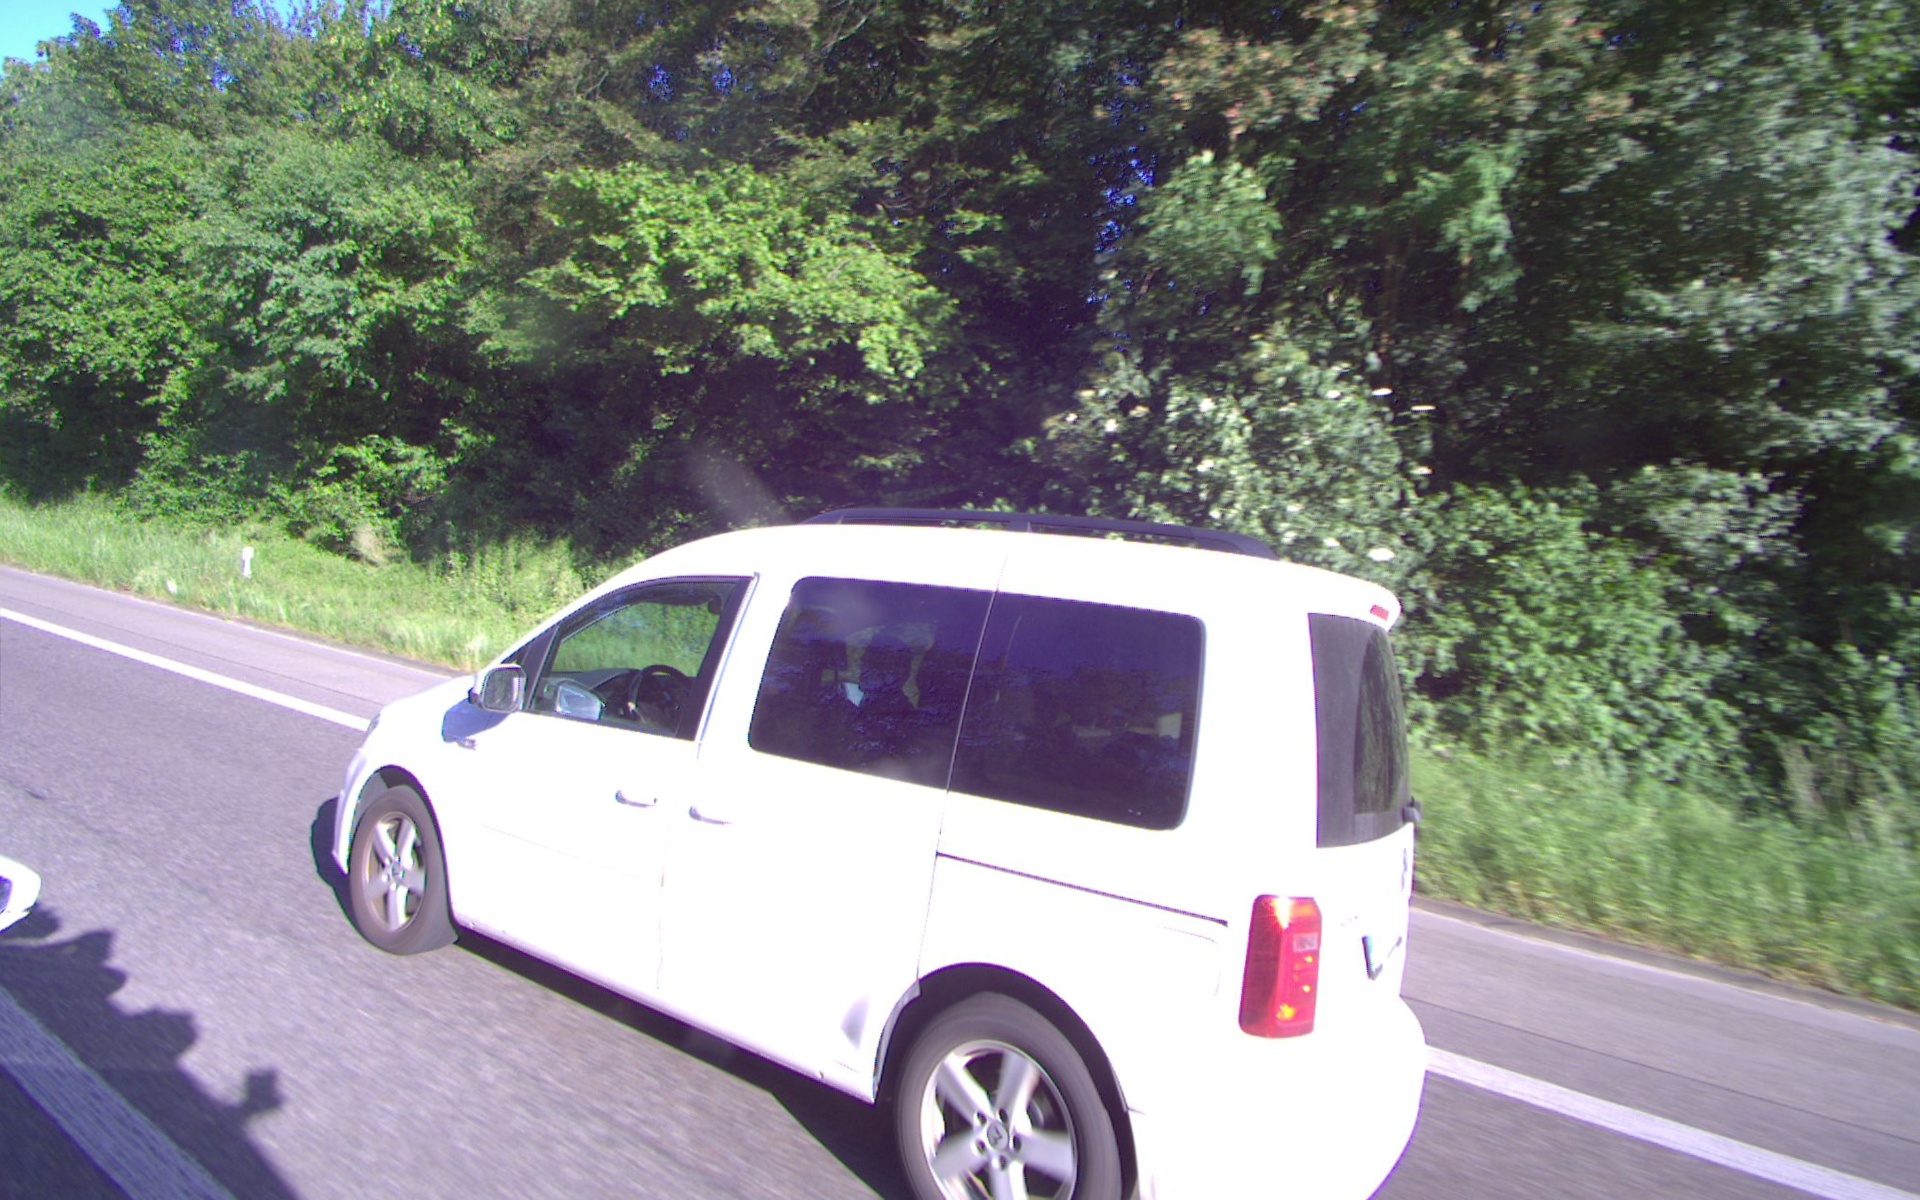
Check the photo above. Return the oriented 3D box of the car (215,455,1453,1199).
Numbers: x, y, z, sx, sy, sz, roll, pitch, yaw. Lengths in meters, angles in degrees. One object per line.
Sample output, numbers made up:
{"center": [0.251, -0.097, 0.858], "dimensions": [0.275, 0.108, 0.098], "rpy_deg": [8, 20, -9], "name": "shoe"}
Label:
{"center": [-0.736, 0.580, 3.944], "dimensions": [4.511, 1.834, 1.802], "rpy_deg": [6, -2, 31], "name": "car"}
